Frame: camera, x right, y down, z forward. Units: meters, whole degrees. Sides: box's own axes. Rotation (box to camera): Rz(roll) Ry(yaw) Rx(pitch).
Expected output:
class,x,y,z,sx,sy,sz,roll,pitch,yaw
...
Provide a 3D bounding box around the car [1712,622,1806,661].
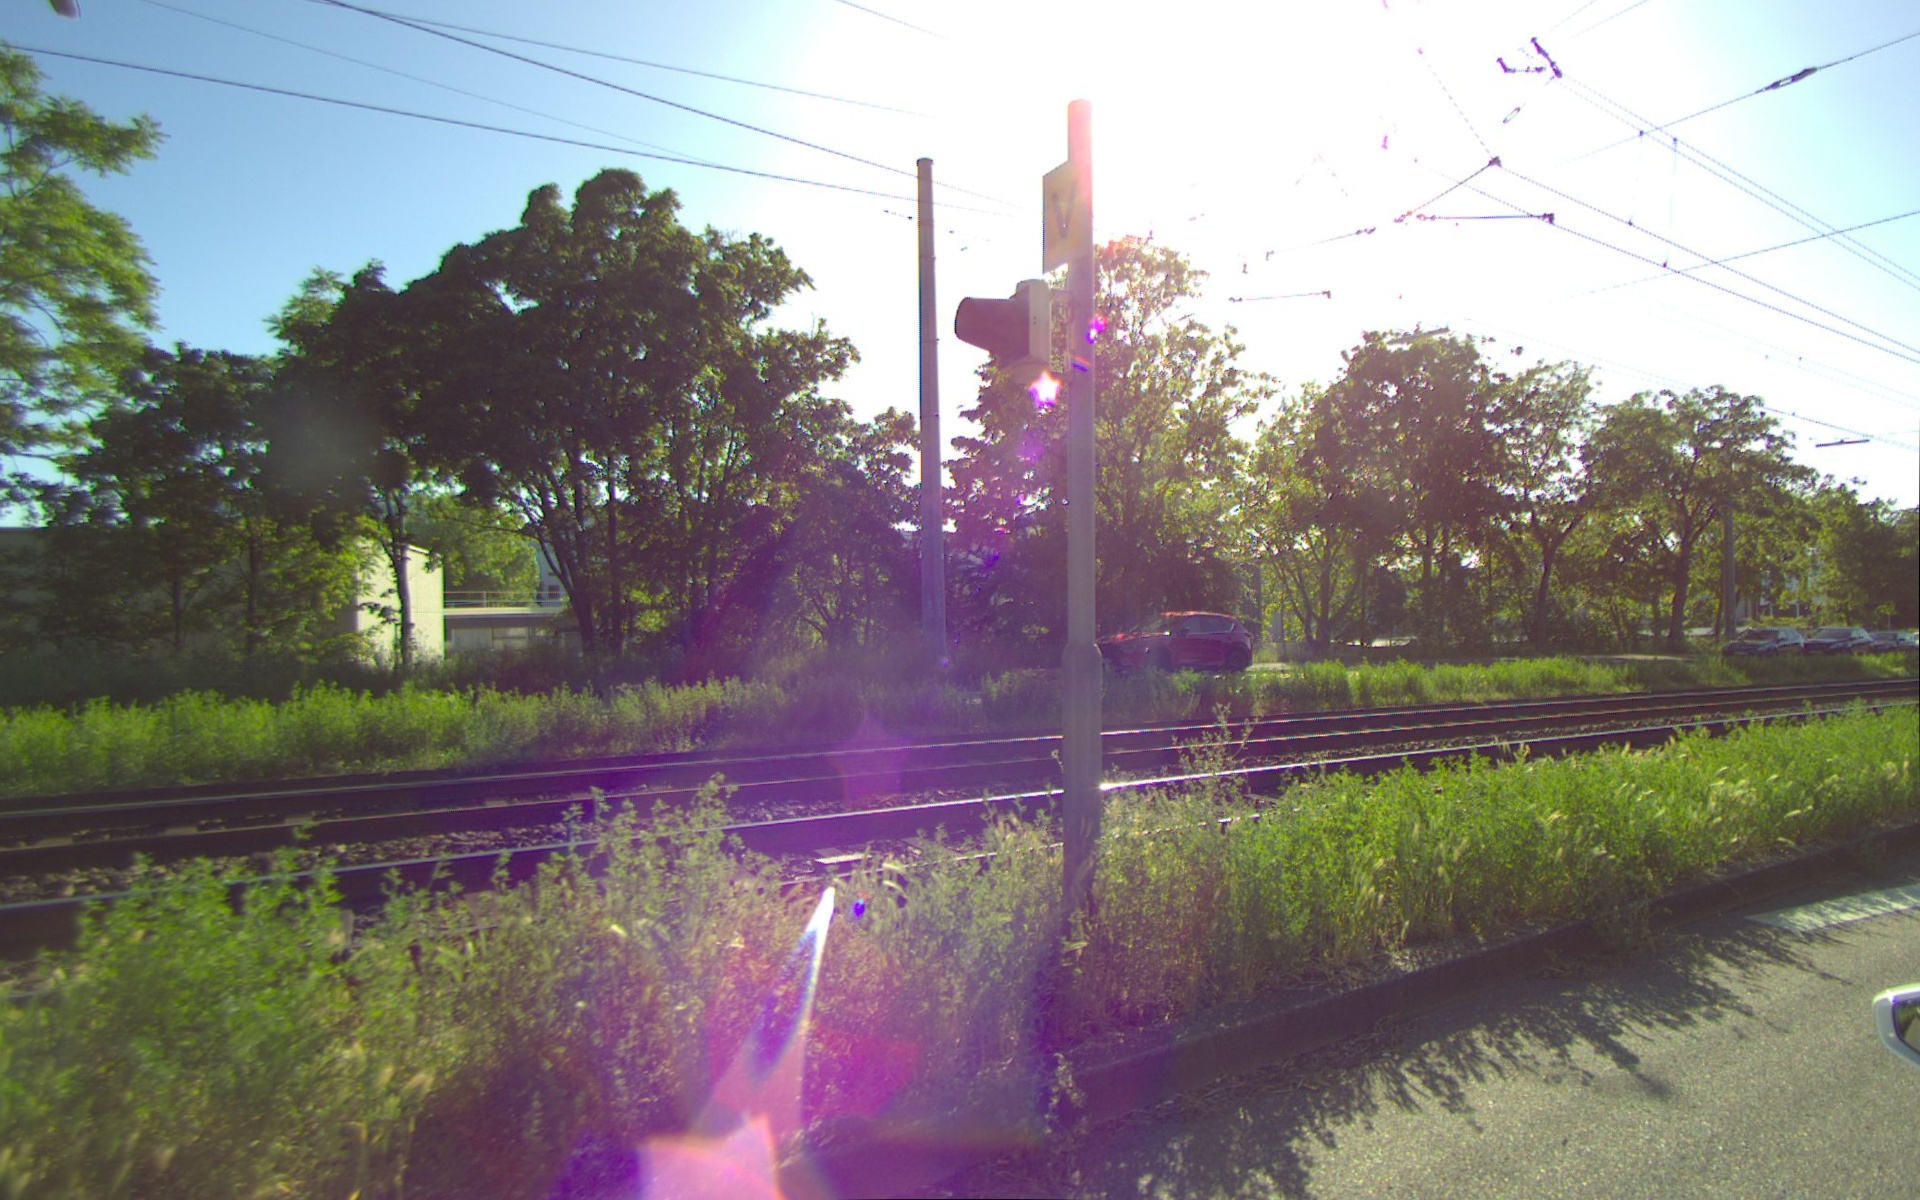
class,x,y,z,sx,sy,sz,roll,pitch,yaw
car,33.642,1.735,42.273,4.279,1.514,1.726,1,0,-32

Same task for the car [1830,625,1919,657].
class,x,y,z,sx,sy,sz,roll,pitch,yaw
car,44.332,1.947,48.665,4.361,1.457,1.985,0,-1,-30

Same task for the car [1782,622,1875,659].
class,x,y,z,sx,sy,sz,roll,pitch,yaw
car,39.552,1.817,45.744,4.384,1.595,1.983,0,-1,-31

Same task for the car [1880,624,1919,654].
class,x,y,z,sx,sy,sz,roll,pitch,yaw
car,49.668,1.989,51.849,4.638,1.457,1.920,0,-1,-30

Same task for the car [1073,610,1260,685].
class,x,y,z,sx,sy,sz,roll,pitch,yaw
car,5.155,1.125,24.942,4.415,1.725,1.994,1,-1,-31
